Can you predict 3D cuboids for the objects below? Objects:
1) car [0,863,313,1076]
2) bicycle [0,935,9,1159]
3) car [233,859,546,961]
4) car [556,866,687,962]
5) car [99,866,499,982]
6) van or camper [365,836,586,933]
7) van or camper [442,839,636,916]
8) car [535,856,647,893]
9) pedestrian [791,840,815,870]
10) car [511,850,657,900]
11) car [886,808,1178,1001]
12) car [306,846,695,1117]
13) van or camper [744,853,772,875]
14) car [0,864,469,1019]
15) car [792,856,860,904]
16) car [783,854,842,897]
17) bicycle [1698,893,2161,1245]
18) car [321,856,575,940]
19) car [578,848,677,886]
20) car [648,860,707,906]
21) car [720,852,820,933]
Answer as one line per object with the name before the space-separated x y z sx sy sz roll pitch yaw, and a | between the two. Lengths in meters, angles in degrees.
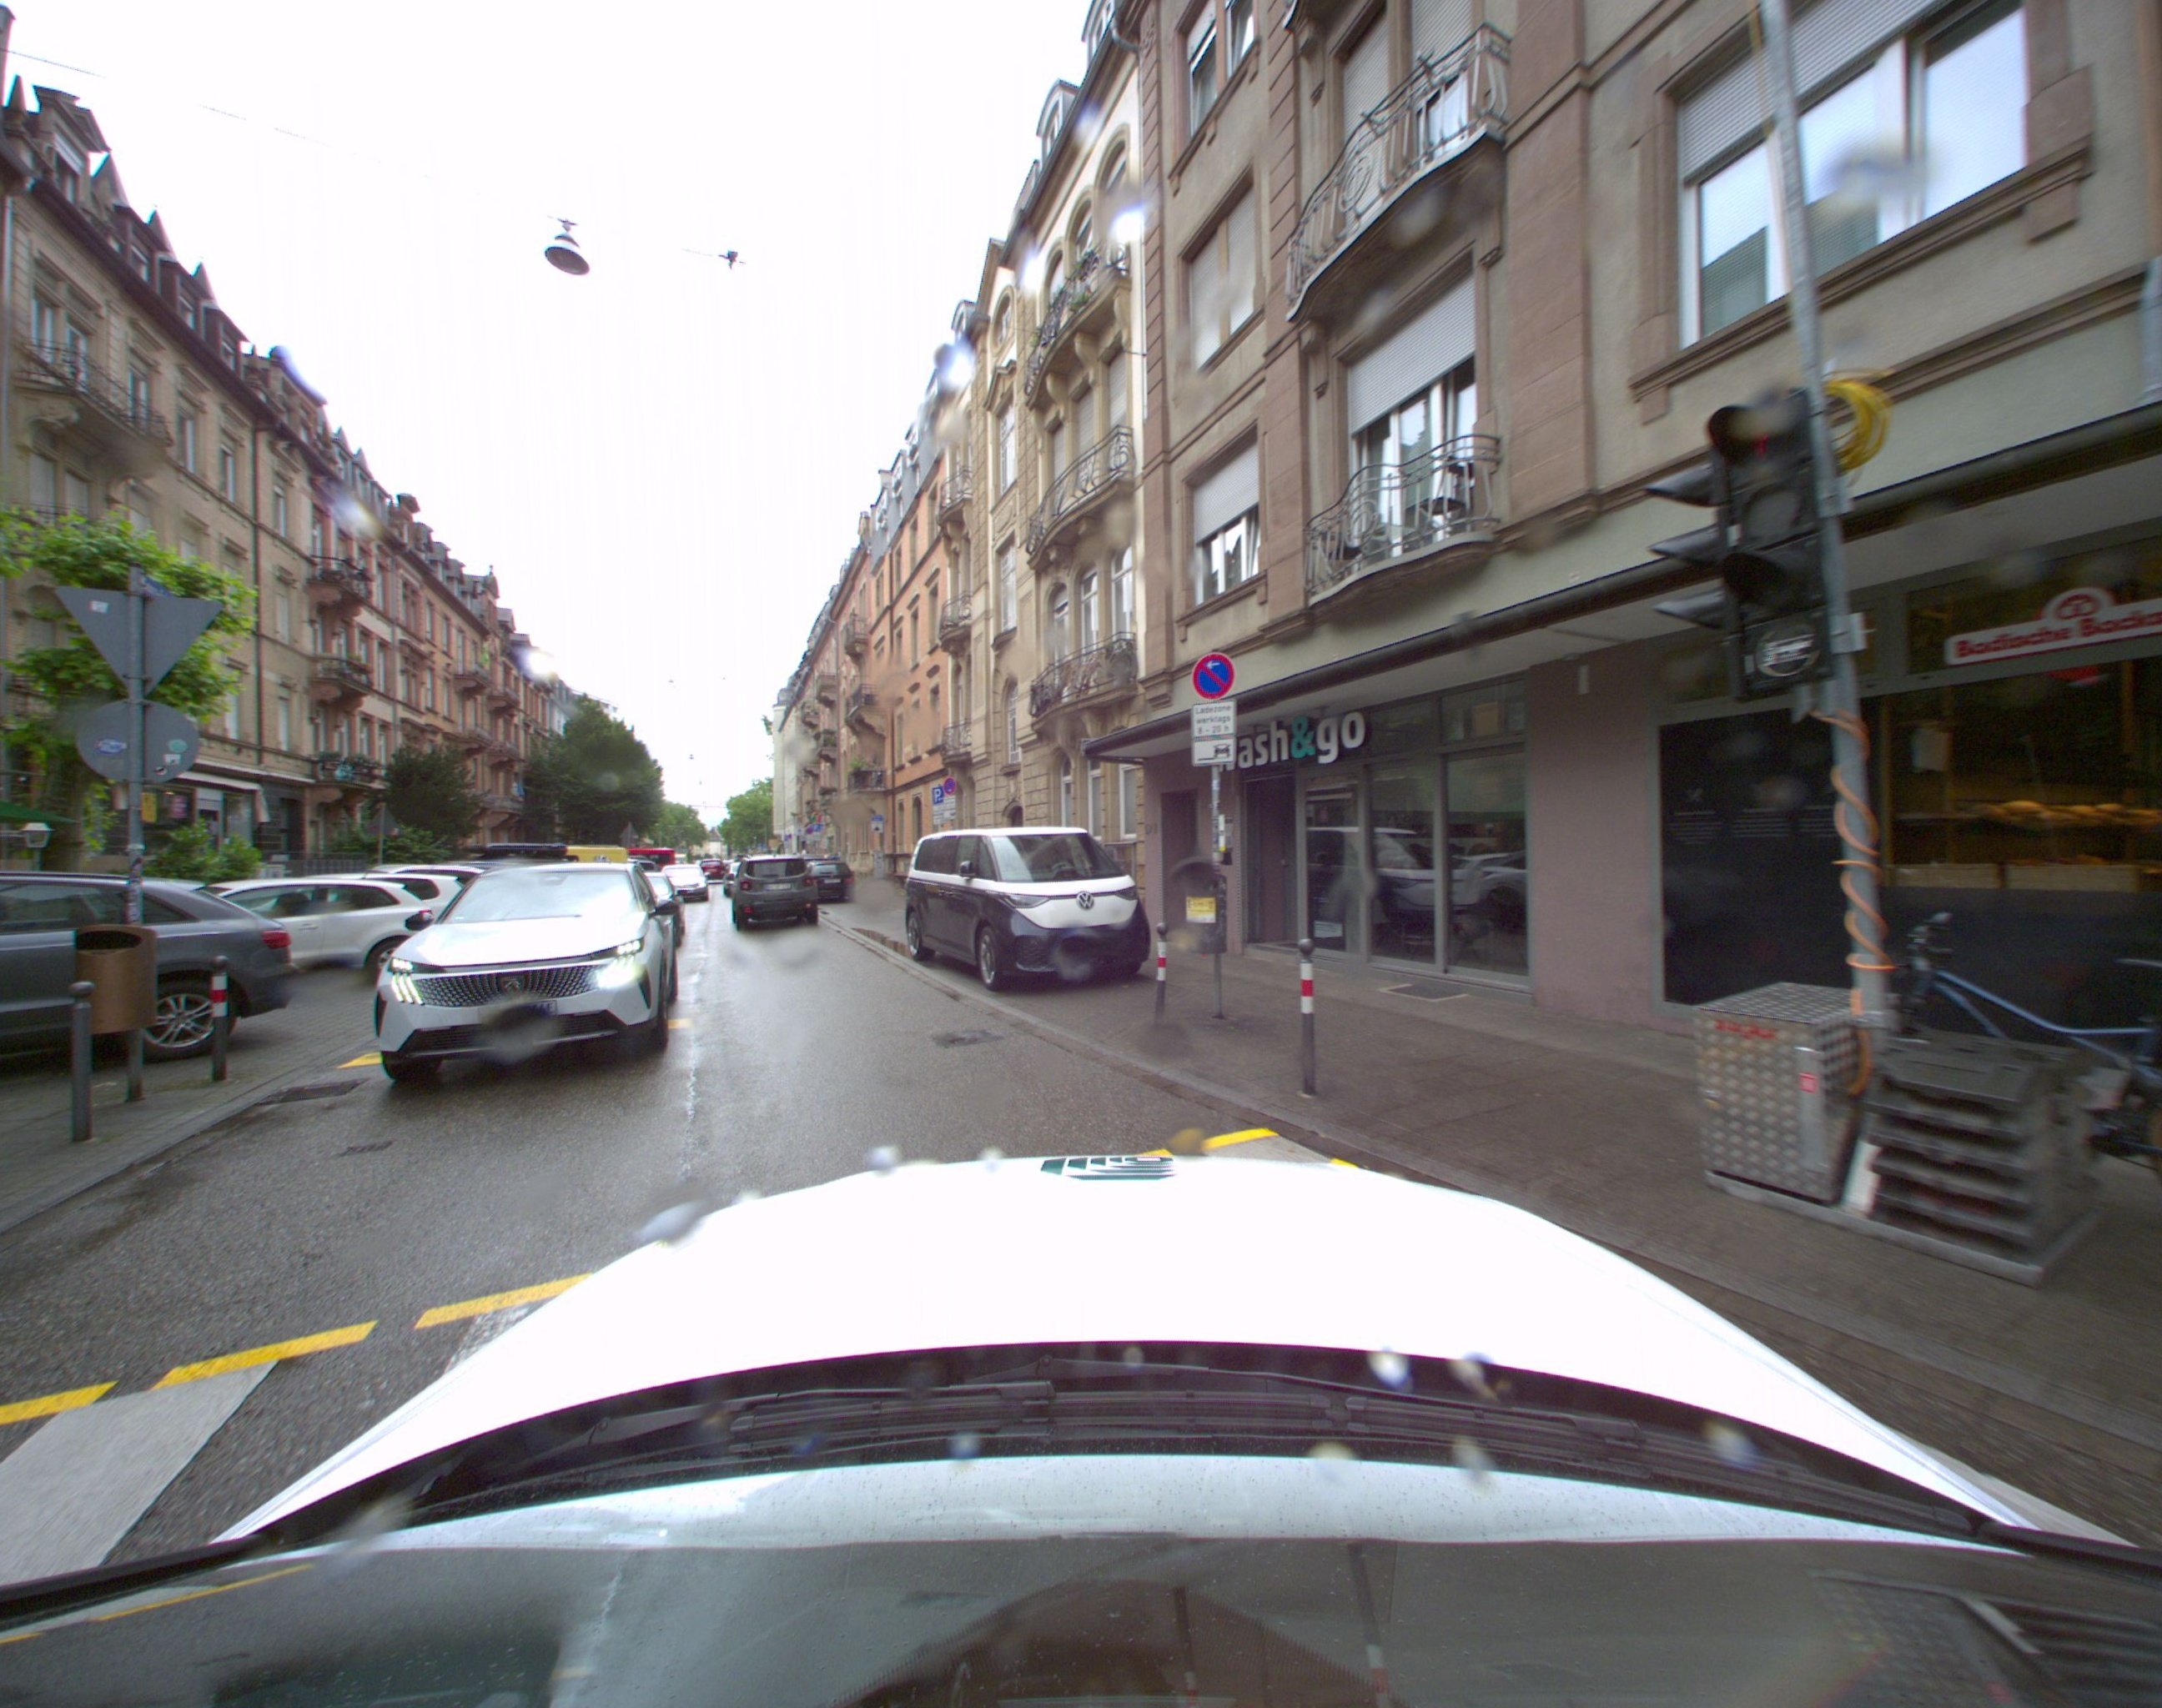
car | -9.053 0.867 6.031 1.974 1.563 4.485 -2 -2 29
bicycle | -6.713 1.100 4.720 1.660 1.143 0.591 -1 -1 37
car | -13.019 1.001 15.641 1.778 1.662 4.163 -1 -2 30
car | -8.801 1.126 15.912 1.804 1.494 4.104 -3 -2 -25
car | -11.973 1.000 12.822 1.778 1.494 4.163 -2 -3 31
van or camper | -15.419 0.791 20.962 1.912 2.240 4.109 -2 -3 33
van or camper | -17.518 0.735 26.569 2.157 2.268 4.756 1 -1 33
car | -24.840 1.055 41.505 4.601 1.785 2.524 1 -1 -25
pedestrian | -18.570 0.072 54.471 0.674 1.936 0.811 -2 -42 11
car | -22.288 0.886 36.694 1.846 2.078 5.286 -2 -1 41
car | -0.995 0.524 11.089 2.005 1.938 5.184 -3 0 -27
car | -4.990 0.843 7.898 1.866 1.660 4.971 -3 0 -22
van or camper | -29.348 0.907 73.995 2.031 1.890 5.013 -3 1 -25
car | -11.046 0.941 10.376 1.974 1.563 4.754 1 -1 32
car | -9.100 0.857 28.826 1.795 1.466 4.449 -1 1 -23
car | -11.133 0.848 33.599 1.880 1.561 4.311 -3 1 -24
bicycle | 3.764 0.770 3.297 0.627 1.128 1.921 -1 0 -28
car | -14.197 0.975 18.552 1.778 1.662 4.163 -2 -3 29
car | -31.575 0.858 56.892 2.200 2.541 5.609 -1 0 38
car | -16.073 1.113 32.623 1.803 1.494 4.547 4 0 -24
car | -7.679 0.848 19.850 1.908 1.670 4.468 -2 0 -25
